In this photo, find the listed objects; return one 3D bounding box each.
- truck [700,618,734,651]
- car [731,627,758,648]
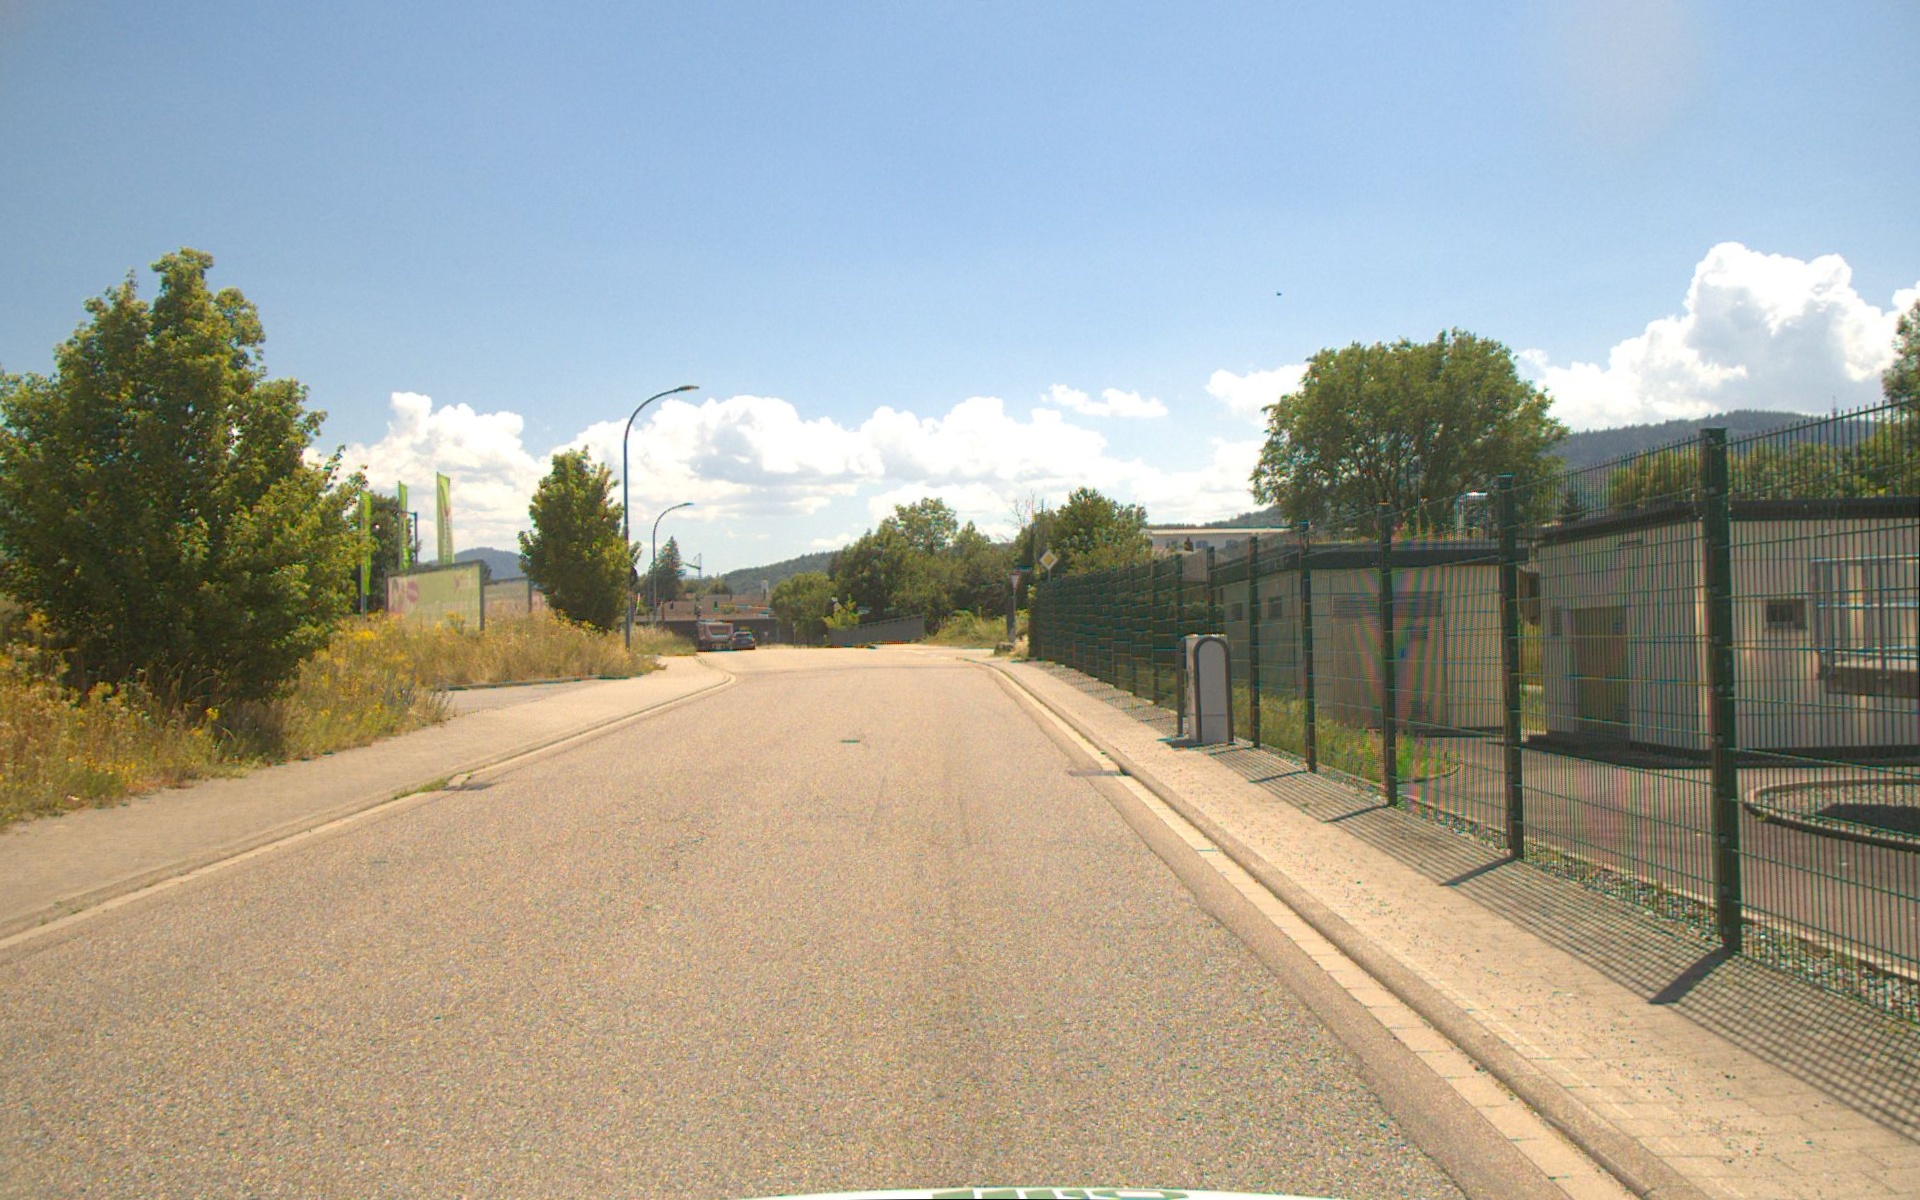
[{"bbox_3d":[-21.674,3.072,147.308,2.635,2.821,6.072,0,0,-12],"label":"truck"},{"bbox_3d":[-16.238,2.802,124.520,1.744,1.473,3.442,0,0,-11],"label":"car"}]
